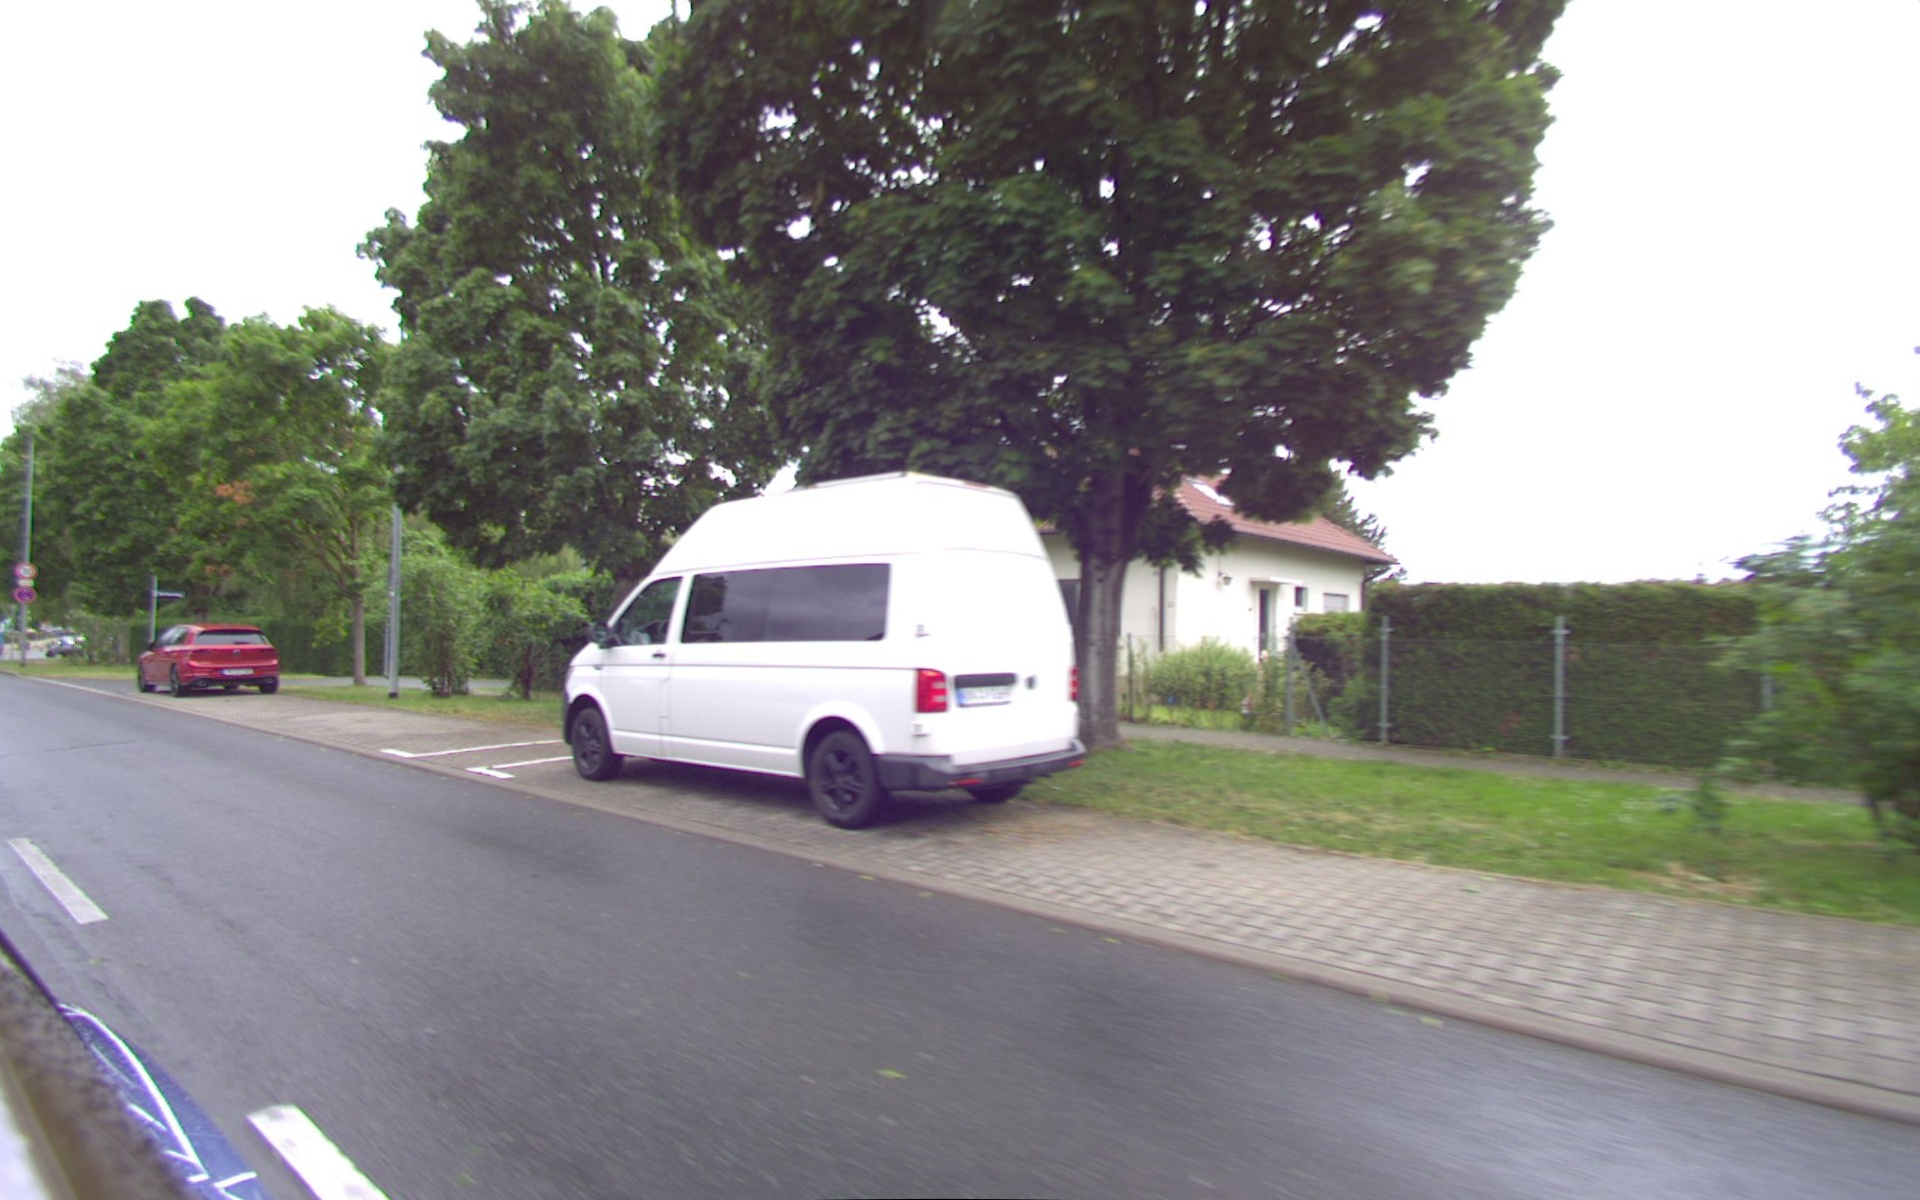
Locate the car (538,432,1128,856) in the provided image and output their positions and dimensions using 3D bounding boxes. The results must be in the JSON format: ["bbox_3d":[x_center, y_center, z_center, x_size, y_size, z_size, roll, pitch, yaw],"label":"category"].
[{"bbox_3d":[-1.342,0.351,8.620,5.229,2.580,1.973,-2,-3,41],"label":"car"}]

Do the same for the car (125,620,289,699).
[{"bbox_3d":[-15.778,1.204,21.137,4.246,1.477,1.824,-2,-3,40],"label":"car"}]

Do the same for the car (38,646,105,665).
[{"bbox_3d":[-80.716,5.059,91.990,4.368,1.428,1.760,-2,-1,-34],"label":"car"}]

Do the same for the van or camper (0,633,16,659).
[{"bbox_3d":[-105.201,4.980,110.332,2.114,2.628,5.798,4,-3,-32],"label":"van or camper"}]
